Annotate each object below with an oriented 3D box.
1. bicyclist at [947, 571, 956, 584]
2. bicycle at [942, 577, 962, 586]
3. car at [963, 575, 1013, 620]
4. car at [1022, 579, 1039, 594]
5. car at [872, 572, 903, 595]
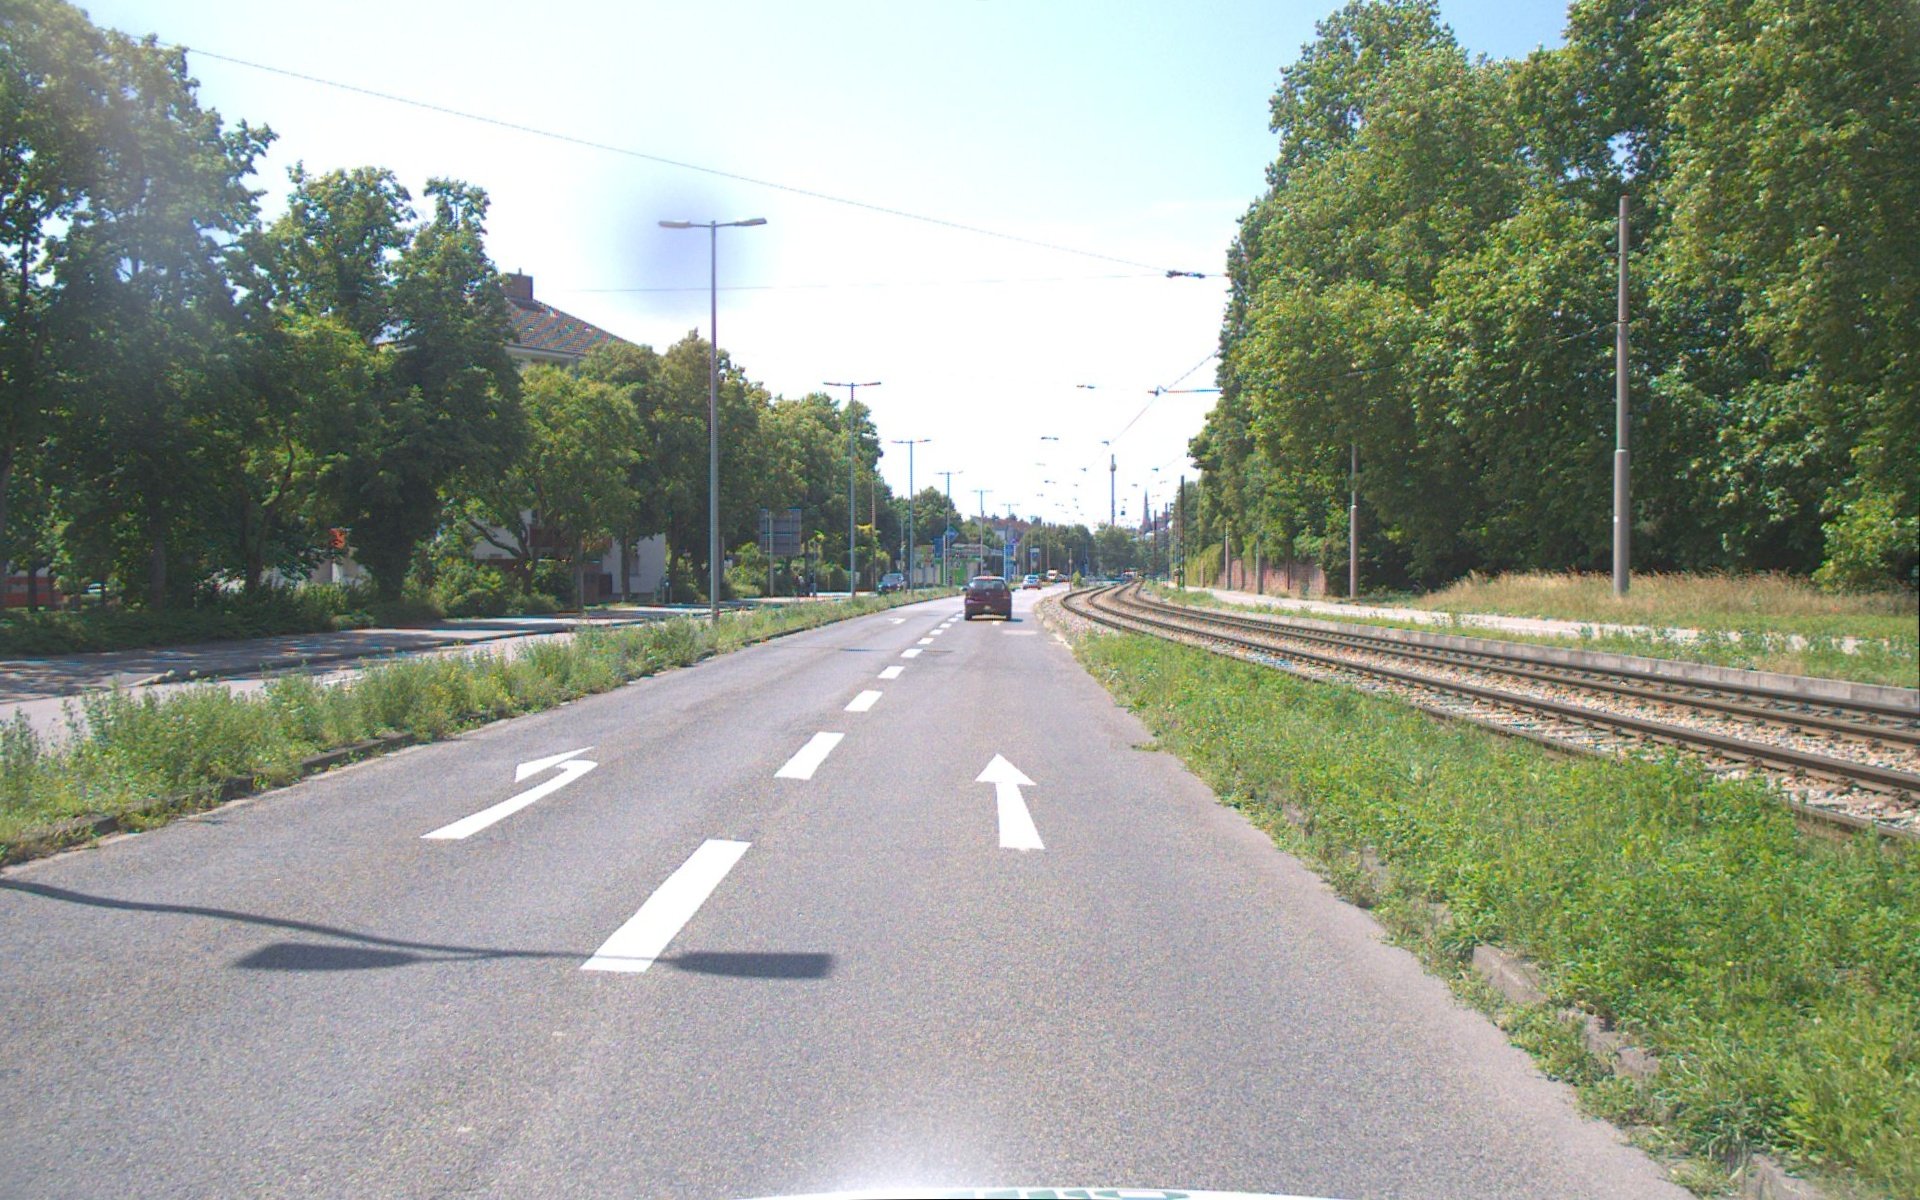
[{"bbox_3d":[-1.075,-2.814,210.139,0.926,1.621,1.086,1,0,-8],"label":"bicyclist"},{"bbox_3d":[-1.033,-2.348,210.116,2.502,1.056,1.086,1,0,-8],"label":"bicycle"},{"bbox_3d":[0.976,-0.073,56.965,1.667,1.503,3.717,0,-1,1],"label":"car"},{"bbox_3d":[7.405,-1.448,172.941,1.667,1.506,3.717,1,0,1],"label":"car"},{"bbox_3d":[-5.489,-1.243,125.625,1.883,1.654,4.758,-2,0,2],"label":"car"}]
